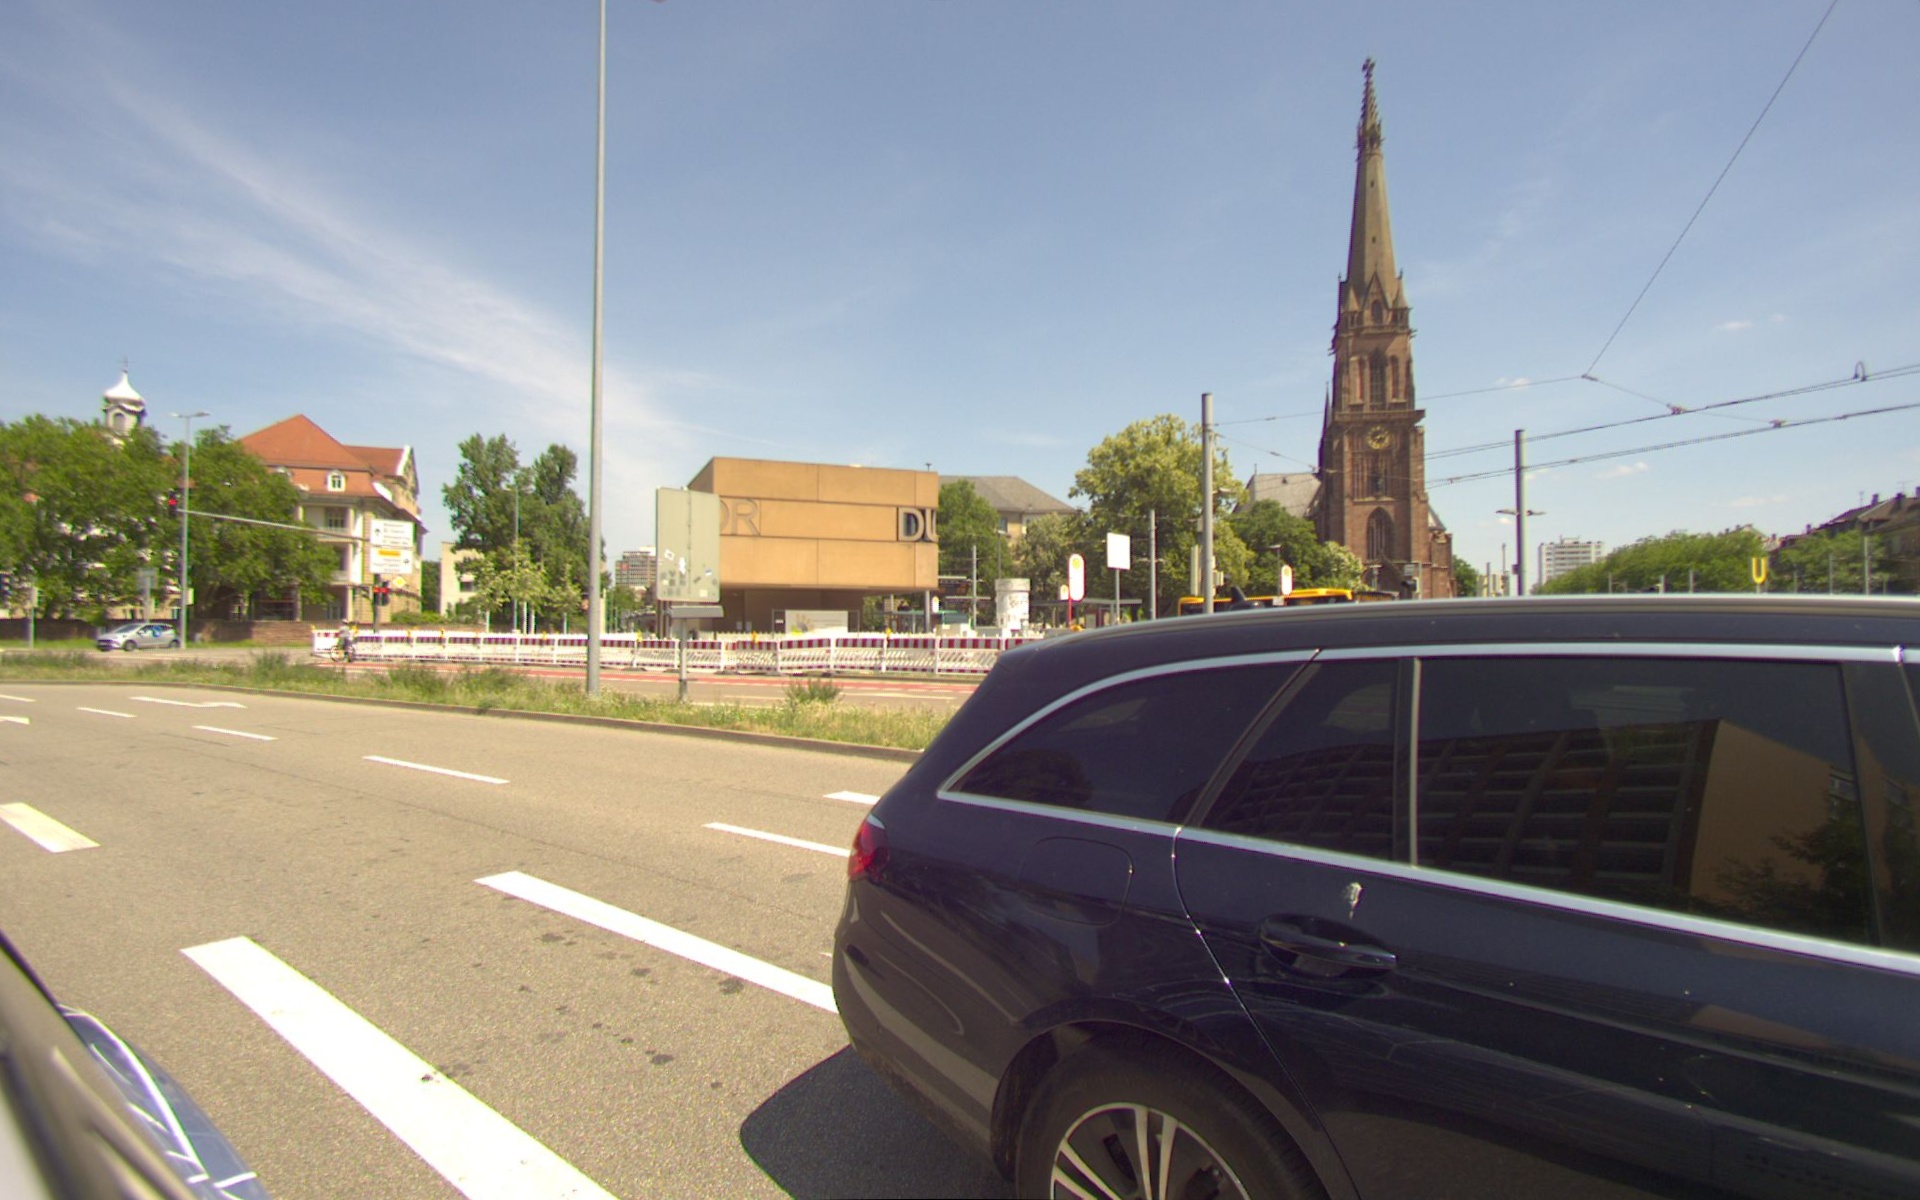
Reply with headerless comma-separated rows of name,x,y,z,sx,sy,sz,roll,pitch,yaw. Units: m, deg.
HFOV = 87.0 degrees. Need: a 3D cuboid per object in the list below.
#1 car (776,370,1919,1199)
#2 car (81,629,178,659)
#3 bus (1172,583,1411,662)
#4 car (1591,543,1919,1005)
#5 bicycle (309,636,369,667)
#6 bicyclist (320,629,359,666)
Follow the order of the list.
car,1.949,0.569,1.432,4.803,1.653,1.778,-2,-1,42
car,-43.222,2.277,52.773,1.772,1.475,3.627,-1,-2,10
bus,14.130,1.093,45.047,2.807,3.039,12.259,1,-2,-22
car,4.551,0.597,3.530,3.736,1.588,1.725,-2,-3,42
bicycle,-23.137,1.913,37.689,2.220,1.080,0.871,-1,0,26
bicyclist,-23.233,1.760,37.880,1.432,1.366,0.582,-1,0,26
